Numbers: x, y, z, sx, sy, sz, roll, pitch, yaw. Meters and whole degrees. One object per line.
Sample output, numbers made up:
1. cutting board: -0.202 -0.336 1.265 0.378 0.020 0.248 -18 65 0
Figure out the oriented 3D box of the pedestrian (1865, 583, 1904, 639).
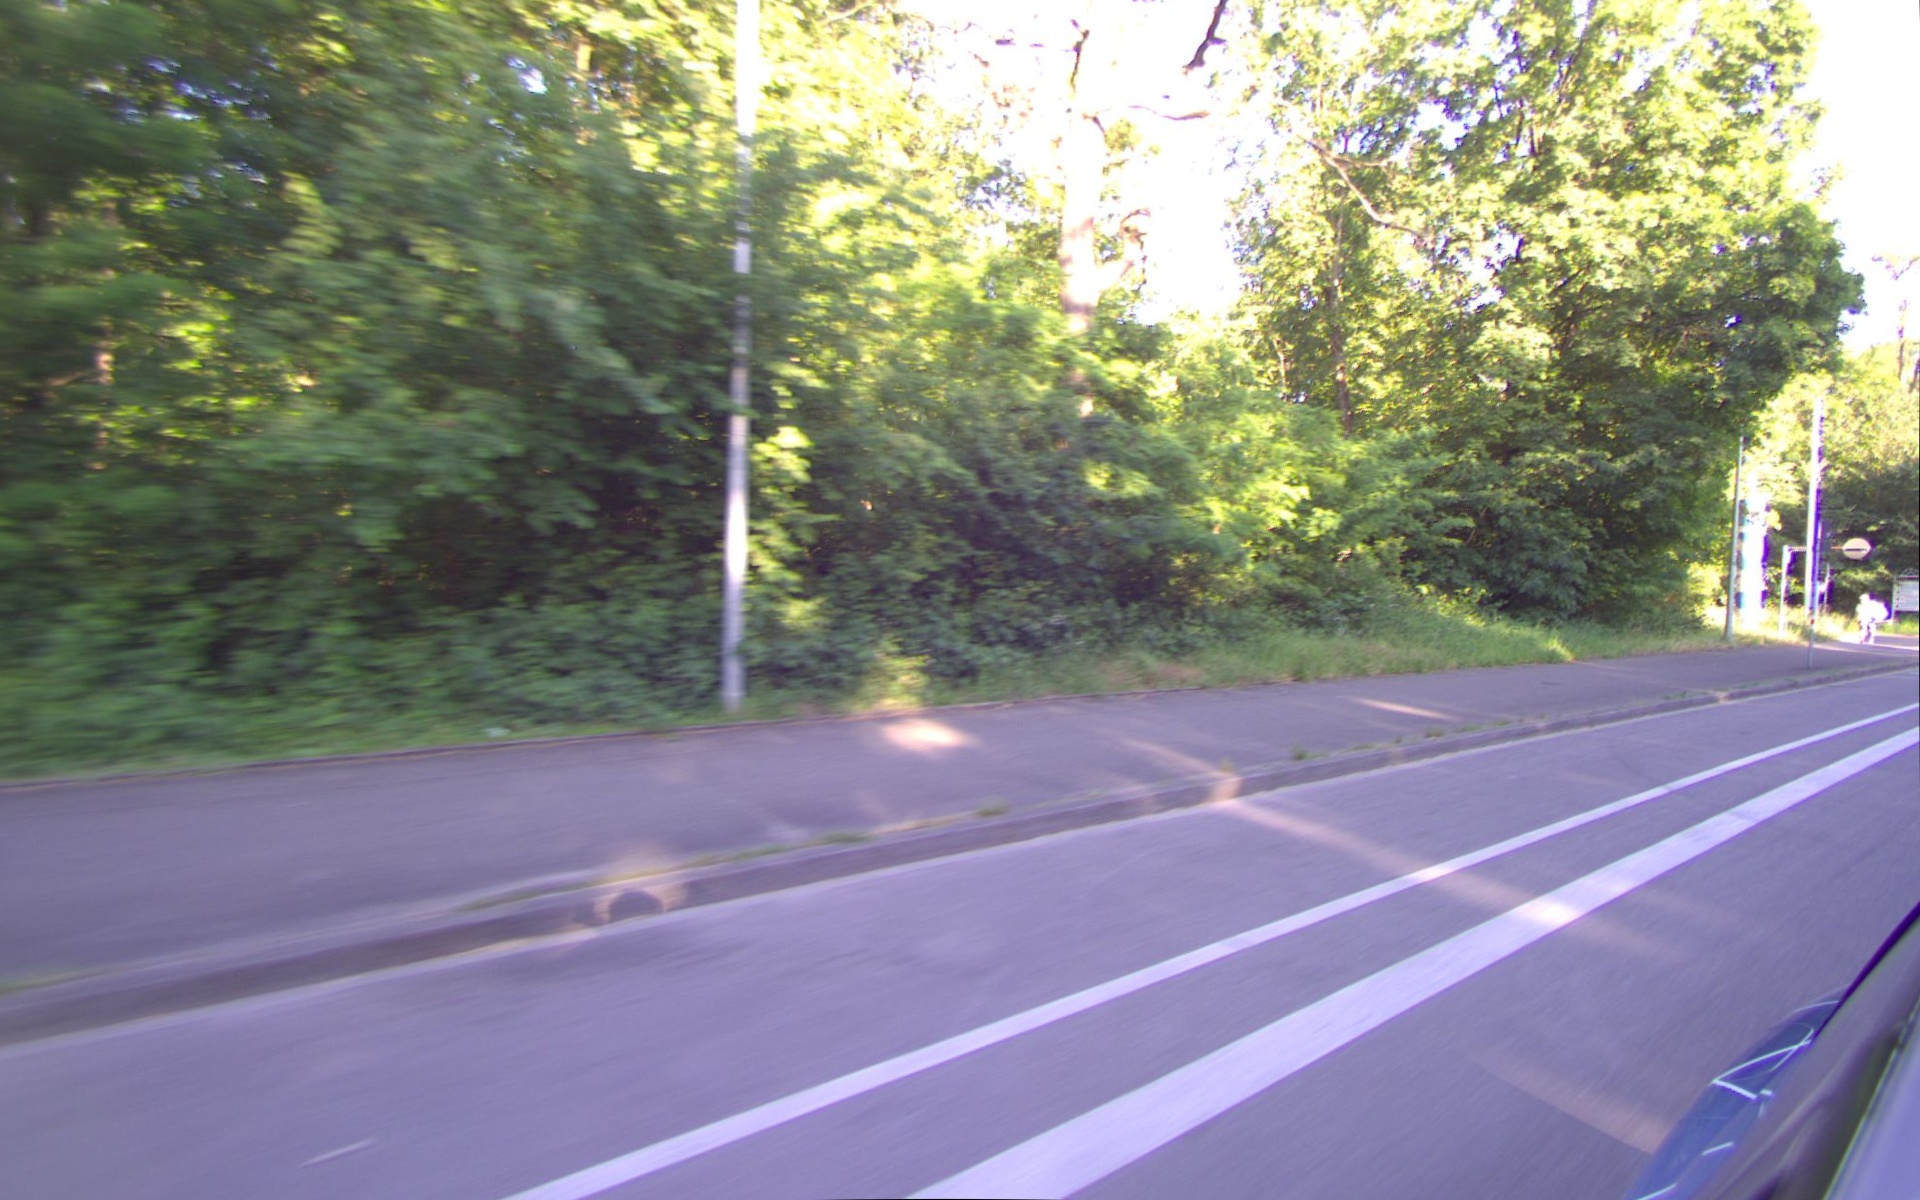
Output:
1. pedestrian: 31.142 0.350 34.083 0.720 1.821 0.809 0 2 -38
